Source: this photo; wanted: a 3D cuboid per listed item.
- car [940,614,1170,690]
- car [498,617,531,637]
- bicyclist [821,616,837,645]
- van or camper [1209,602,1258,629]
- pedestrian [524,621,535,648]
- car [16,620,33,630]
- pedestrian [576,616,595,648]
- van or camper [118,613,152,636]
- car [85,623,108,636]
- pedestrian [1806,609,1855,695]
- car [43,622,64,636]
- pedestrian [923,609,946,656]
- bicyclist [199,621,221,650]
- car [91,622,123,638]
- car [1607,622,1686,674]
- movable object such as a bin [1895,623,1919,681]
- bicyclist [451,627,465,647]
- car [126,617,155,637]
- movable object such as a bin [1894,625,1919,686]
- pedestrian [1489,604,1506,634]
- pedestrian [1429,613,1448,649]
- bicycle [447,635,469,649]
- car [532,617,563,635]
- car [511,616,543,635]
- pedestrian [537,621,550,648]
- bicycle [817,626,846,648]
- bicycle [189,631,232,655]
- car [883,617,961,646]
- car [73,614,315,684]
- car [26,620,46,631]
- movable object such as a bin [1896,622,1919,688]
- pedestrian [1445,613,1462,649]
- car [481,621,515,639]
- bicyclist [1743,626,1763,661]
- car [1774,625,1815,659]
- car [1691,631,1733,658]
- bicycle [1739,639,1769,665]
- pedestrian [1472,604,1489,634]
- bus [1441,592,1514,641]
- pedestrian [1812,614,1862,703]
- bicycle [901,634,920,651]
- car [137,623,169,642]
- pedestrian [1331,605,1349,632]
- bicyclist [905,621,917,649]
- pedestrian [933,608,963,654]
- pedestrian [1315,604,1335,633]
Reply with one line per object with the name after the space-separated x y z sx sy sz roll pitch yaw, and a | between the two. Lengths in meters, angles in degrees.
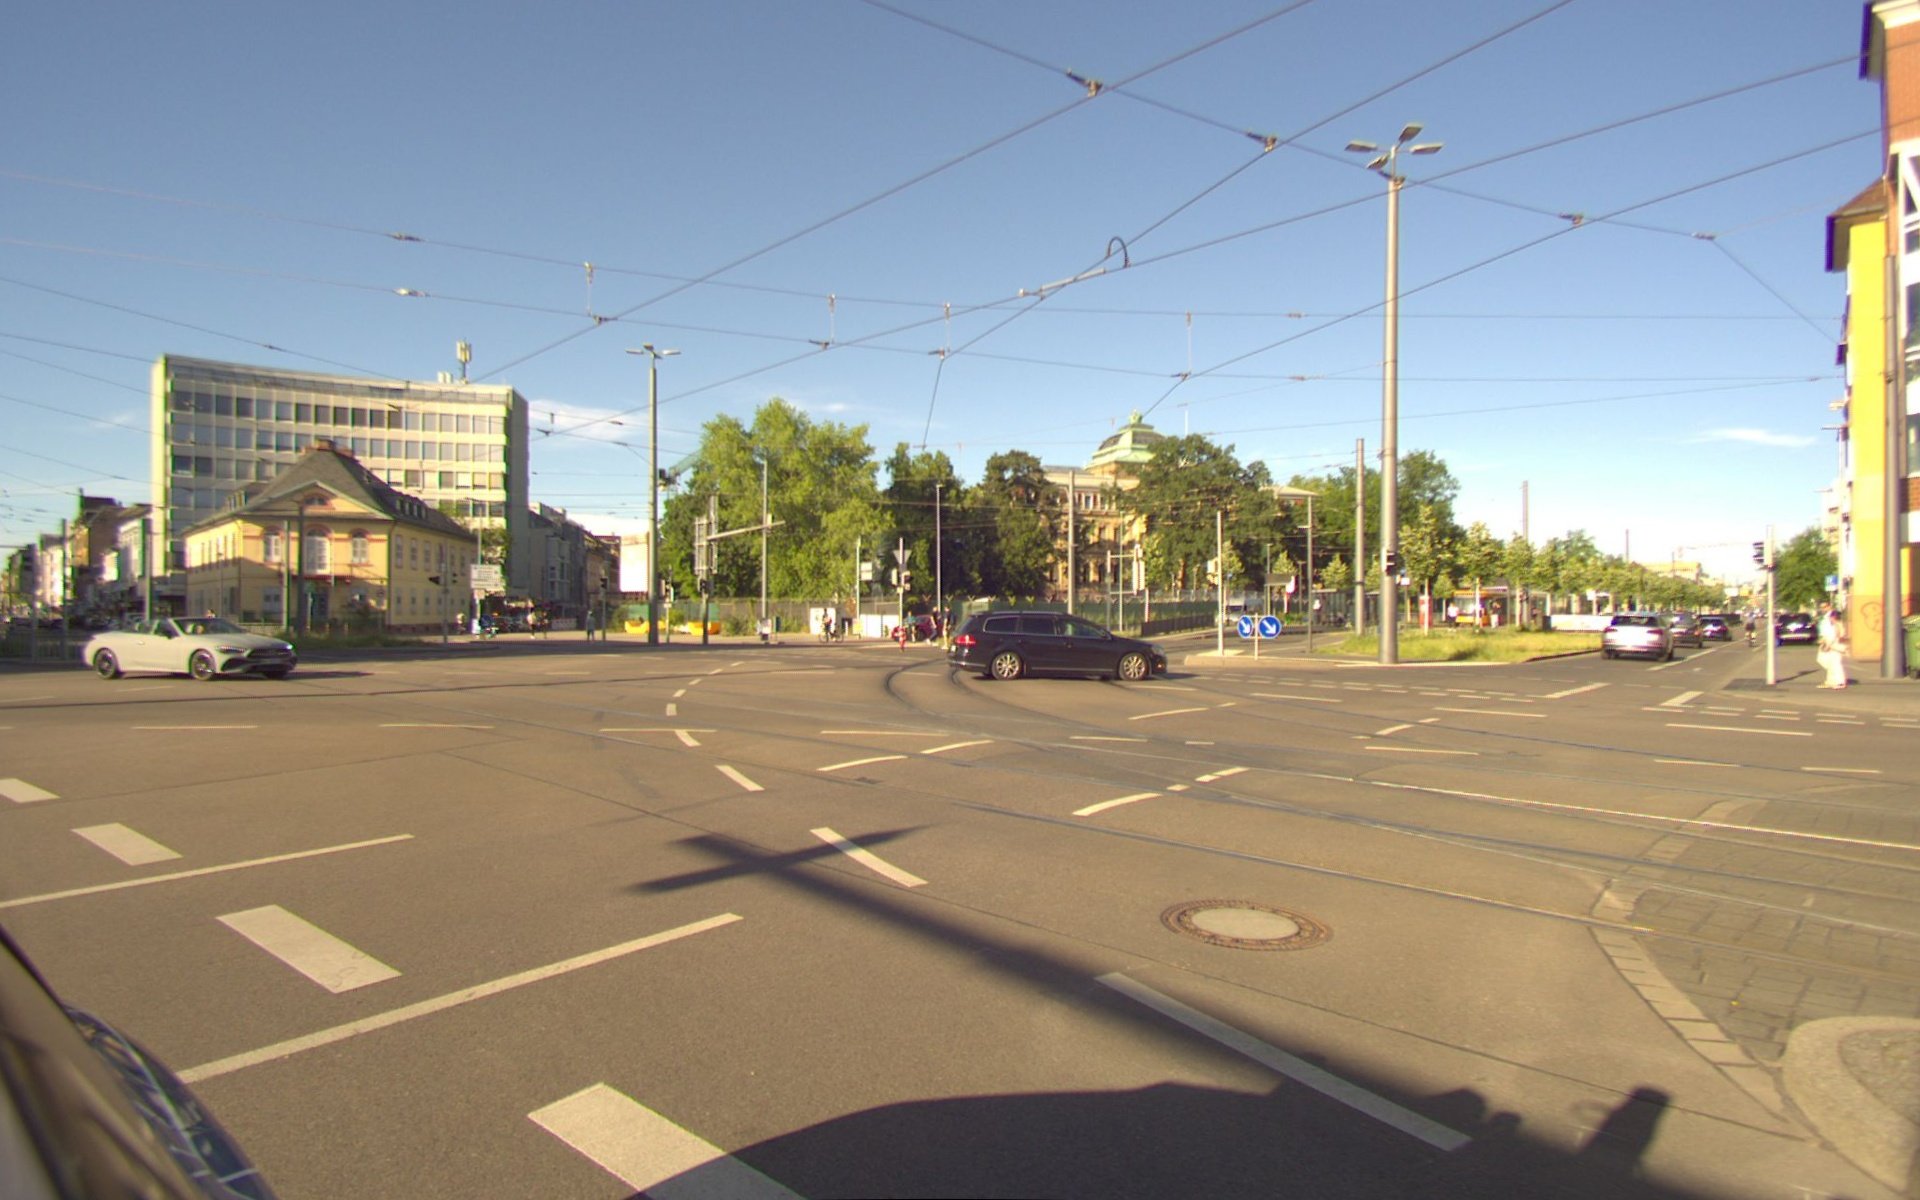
1.927 1.054 21.223 4.456 1.455 1.774 0 -1 -8 | car
-38.916 2.351 88.526 1.862 1.683 3.873 0 -1 -12 | car
-6.933 1.597 53.449 0.609 1.504 0.608 -1 -1 41 | bicyclist
20.813 1.184 76.897 1.979 2.016 4.298 -1 -1 40 | van or camper
-29.141 2.343 68.534 0.586 1.831 0.707 0 -1 -32 | pedestrian
-146.498 3.866 158.535 1.756 1.521 3.862 3 -3 -45 | car
-20.128 1.735 54.419 0.704 1.701 0.619 -3 -3 35 | pedestrian
-76.032 2.265 93.217 4.799 1.988 1.932 -1 0 45 | van or camper
-101.851 3.451 119.353 3.599 1.427 1.761 -1 -1 44 | car
18.056 1.060 20.995 0.711 1.740 0.681 -1 -1 38 | pedestrian
-108.232 3.431 120.798 1.665 1.572 4.125 1 -1 -45 | car
-1.085 1.343 42.338 0.712 1.948 0.801 0 -1 -22 | pedestrian
-43.538 2.045 58.739 0.587 1.661 0.799 1 0 27 | bicyclist
-86.123 2.991 102.191 4.292 1.463 1.905 -1 0 42 | car
23.399 1.592 34.444 1.844 1.647 3.439 -1 -1 40 | car
24.817 1.329 25.980 1.095 1.447 0.986 -1 -1 38 | movable object such as a bin
-38.071 2.789 76.709 0.657 1.465 0.729 0 -1 5 | bicyclist
-72.062 2.330 88.934 1.755 1.633 4.181 -1 0 -42 | car
23.282 1.325 24.329 1.095 1.447 0.986 -1 -1 38 | movable object such as a bin
36.581 1.275 68.849 0.921 2.025 1.000 -1 -1 32 | pedestrian
27.669 1.775 58.514 0.801 2.025 0.797 -1 -1 36 | pedestrian
-38.079 3.181 76.767 0.643 1.021 1.882 0 -1 4 | bicycle
-40.255 2.502 98.809 1.775 1.683 3.760 0 -1 -5 | car
-40.067 2.371 93.660 1.774 1.683 3.763 0 -1 -8 | car
-28.330 2.332 68.755 0.695 1.865 0.742 0 -1 -32 | pedestrian
-6.808 1.956 53.593 0.612 1.142 1.480 -1 -1 41 | bicycle
-43.499 2.483 58.755 0.572 1.301 2.008 -1 -1 26 | bicycle
-1.995 1.732 54.672 1.780 1.521 4.507 -1 -3 37 | car
-17.150 1.049 22.692 4.731 1.450 1.861 0 -1 16 | car
-133.218 3.693 145.859 4.669 1.521 1.757 -2 -3 43 | car
21.857 1.235 22.752 1.095 1.447 0.986 -1 -1 38 | movable object such as a bin
28.225 1.761 57.861 0.800 2.025 0.799 -1 -1 32 | pedestrian
-37.924 2.445 83.139 1.624 1.357 3.767 0 -1 -9 | car
40.898 2.225 52.195 0.817 1.785 0.616 0 -1 -36 | bicyclist
42.936 2.132 52.040 1.563 1.630 3.273 -1 -1 40 | car
46.487 2.739 62.542 1.731 1.563 3.425 -1 -1 42 | car
40.990 2.670 52.238 2.007 1.232 0.630 0 -1 -36 | bicycle
35.739 1.316 69.460 0.921 2.025 1.000 -1 -1 32 | pedestrian
40.419 1.235 78.816 2.950 3.591 9.300 -1 -1 41 | bus
17.650 1.152 20.383 0.711 1.740 0.681 -1 -1 38 | pedestrian
-2.373 2.040 48.799 0.319 0.769 1.163 -1 -1 31 | bicycle
-67.748 2.715 84.921 1.756 1.450 3.964 -1 0 -44 | car
28.301 1.359 75.407 0.909 2.025 0.899 0 -1 -34 | pedestrian
-2.379 1.680 48.769 0.398 1.326 0.455 -1 -1 31 | bicyclist
-0.479 1.190 38.990 0.930 1.723 0.688 -1 -1 41 | pedestrian
26.507 1.343 73.418 1.087 2.029 1.001 -1 -1 39 | pedestrian
